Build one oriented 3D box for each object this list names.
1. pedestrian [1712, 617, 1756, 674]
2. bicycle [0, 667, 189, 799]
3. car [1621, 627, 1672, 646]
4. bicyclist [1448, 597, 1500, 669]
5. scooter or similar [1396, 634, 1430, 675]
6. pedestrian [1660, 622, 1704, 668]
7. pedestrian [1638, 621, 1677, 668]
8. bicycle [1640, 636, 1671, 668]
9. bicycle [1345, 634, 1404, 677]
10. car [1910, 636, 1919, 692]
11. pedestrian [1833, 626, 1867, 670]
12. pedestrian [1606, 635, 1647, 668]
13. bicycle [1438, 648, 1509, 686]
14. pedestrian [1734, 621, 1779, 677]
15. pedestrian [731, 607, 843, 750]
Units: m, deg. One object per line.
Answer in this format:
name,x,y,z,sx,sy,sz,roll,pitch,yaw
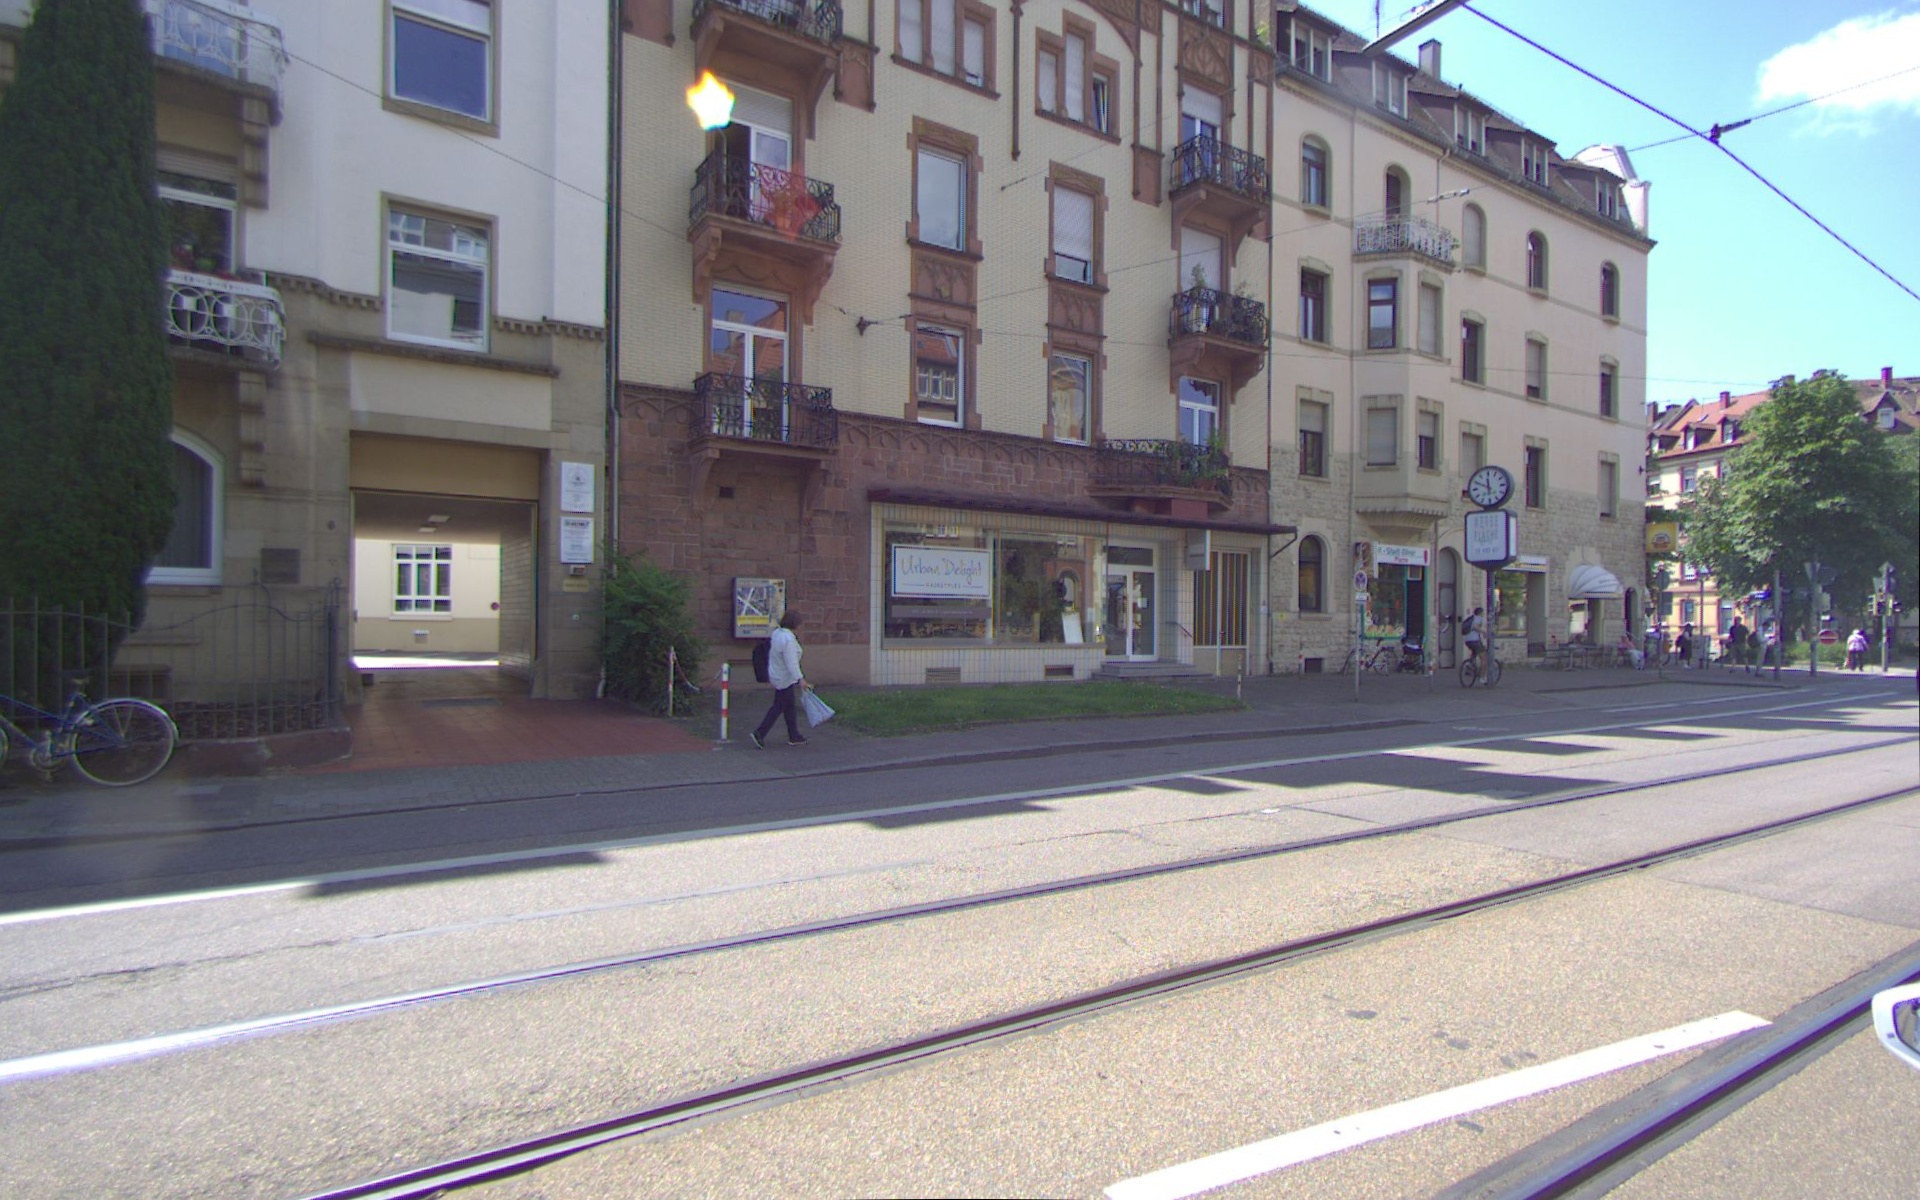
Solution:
pedestrian,26.741,1.548,34.705,1.152,1.916,0.895,1,-1,-34
bicycle,-7.303,1.037,7.969,1.822,0.973,0.408,2,2,-34
car,57.401,3.042,84.044,1.654,1.491,3.467,1,-1,-8
bicyclist,12.216,0.776,23.874,0.821,1.685,0.752,2,0,-32
scooter or similar,12.497,1.487,27.750,0.682,1.058,1.210,2,0,17
pedestrian,26.671,1.656,37.105,0.850,1.657,1.021,1,-1,-21
pedestrian,24.685,1.561,35.554,0.793,1.616,0.920,0,-1,7
bicycle,25.683,1.927,37.123,0.534,1.143,1.683,1,-3,20
bicycle,10.913,1.457,26.454,1.438,1.080,0.370,2,0,-10
car,26.862,1.669,26.727,4.393,1.432,1.808,2,-3,-40
pedestrian,36.092,1.937,40.719,0.833,1.746,0.909,1,-1,-38
pedestrian,22.987,1.769,34.629,0.873,1.092,0.911,1,-1,-32
bicycle,12.202,1.580,23.871,1.802,0.828,0.747,1,-1,-35
pedestrian,25.603,1.555,32.290,0.765,1.756,0.857,1,0,-26
pedestrian,-2.002,0.868,11.613,0.975,1.563,0.894,1,-1,-36
